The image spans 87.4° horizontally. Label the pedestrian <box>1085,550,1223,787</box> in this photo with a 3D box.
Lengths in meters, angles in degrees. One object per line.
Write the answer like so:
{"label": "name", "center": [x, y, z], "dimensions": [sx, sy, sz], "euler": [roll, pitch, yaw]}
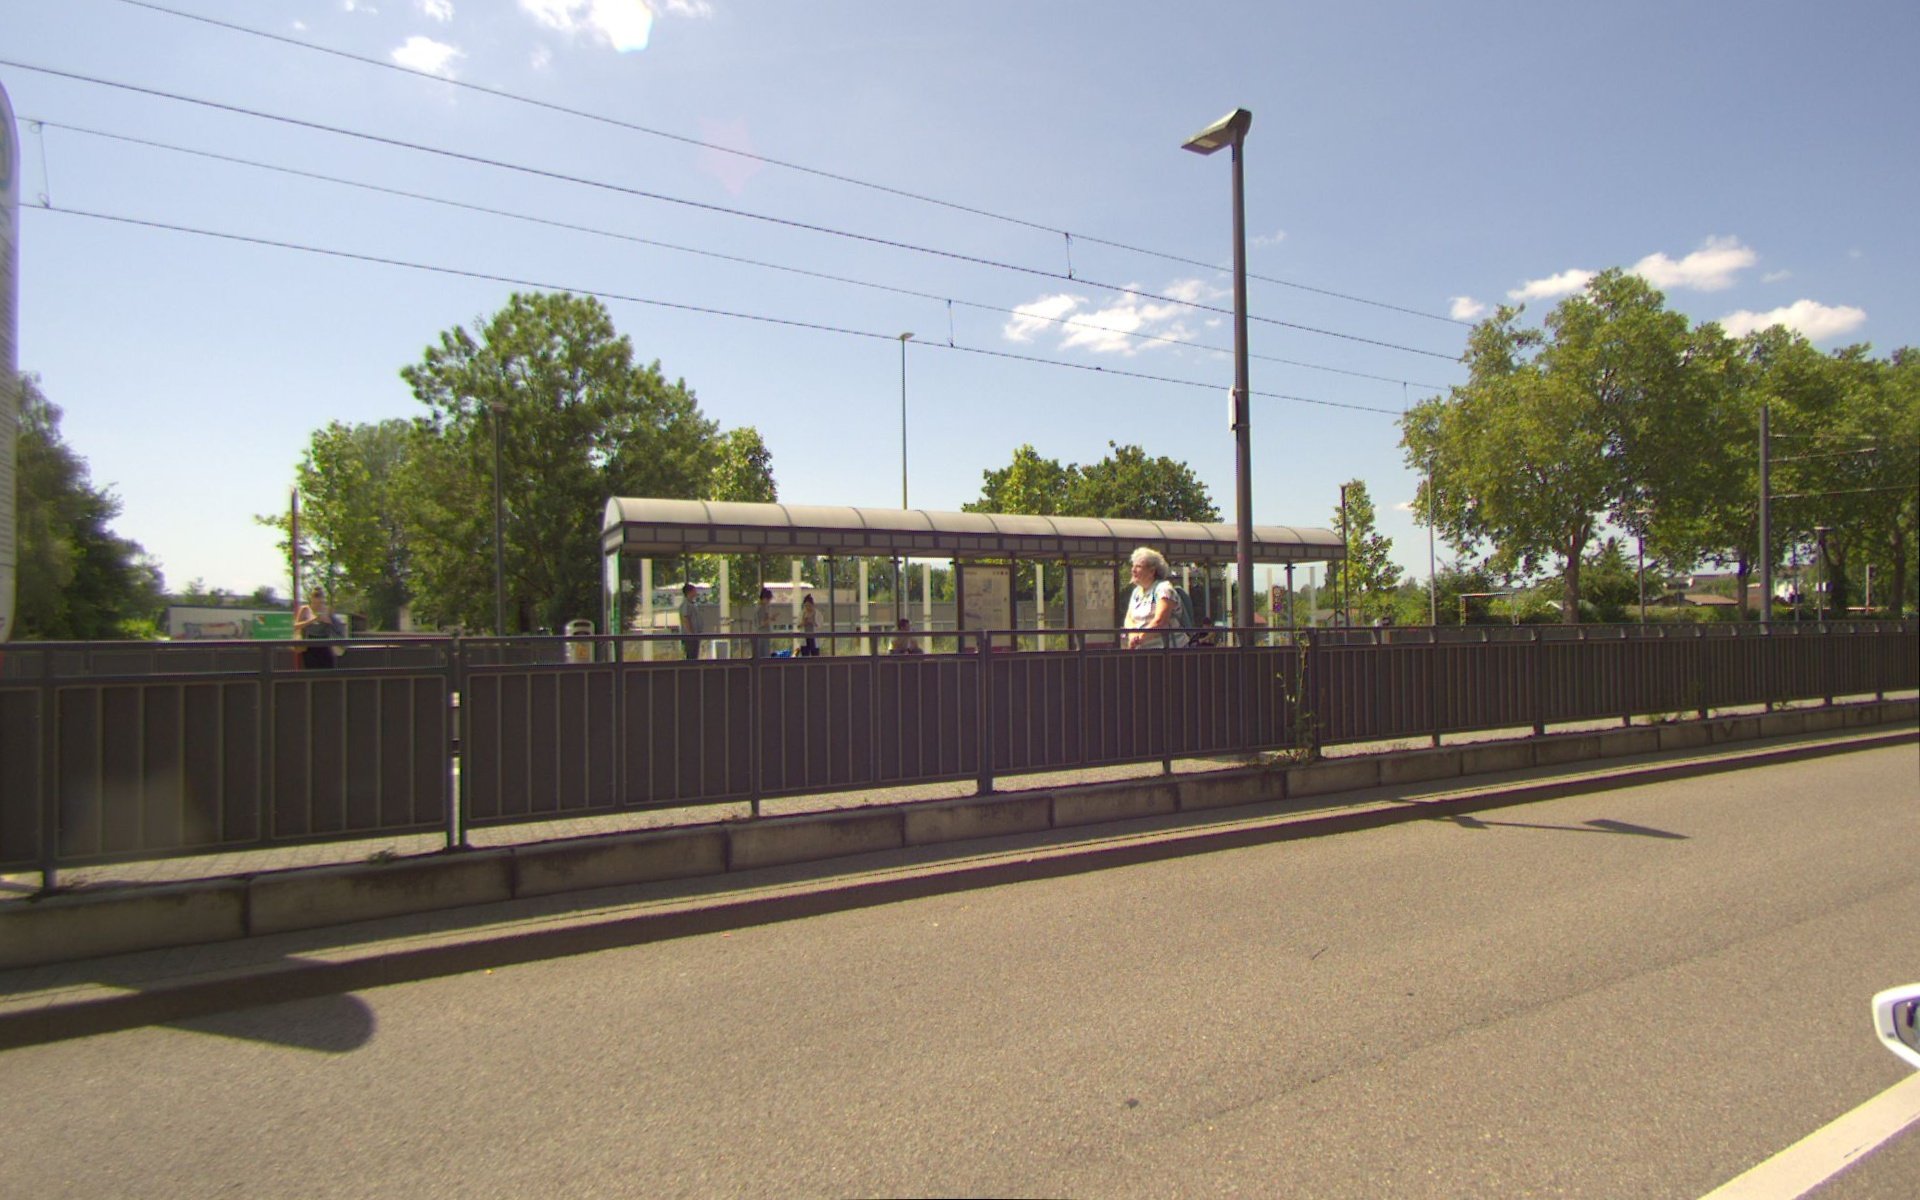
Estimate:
{"label": "pedestrian", "center": [1.477, 0.493, 7.681], "dimensions": [0.733, 1.688, 0.729], "euler": [0, 0, -30]}

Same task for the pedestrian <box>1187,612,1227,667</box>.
{"label": "pedestrian", "center": [5.533, 0.875, 22.515], "dimensions": [0.631, 1.206, 0.574], "euler": [0, -1, -28]}

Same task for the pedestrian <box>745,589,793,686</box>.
{"label": "pedestrian", "center": [-3.346, 0.654, 17.635], "dimensions": [0.566, 1.660, 0.829], "euler": [-1, -1, 9]}

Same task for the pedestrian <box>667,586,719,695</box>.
{"label": "pedestrian", "center": [-4.406, 0.663, 16.592], "dimensions": [0.566, 1.752, 0.739], "euler": [-1, -1, 9]}

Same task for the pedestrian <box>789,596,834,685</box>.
{"label": "pedestrian", "center": [-2.649, 0.716, 17.945], "dimensions": [0.631, 1.553, 0.574], "euler": [0, -1, -28]}

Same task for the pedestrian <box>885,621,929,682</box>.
{"label": "pedestrian", "center": [-0.993, 0.956, 18.789], "dimensions": [0.631, 1.109, 0.574], "euler": [0, -1, -28]}

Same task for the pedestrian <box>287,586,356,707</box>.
{"label": "pedestrian", "center": [-9.067, 0.642, 14.267], "dimensions": [0.799, 1.660, 0.553], "euler": [0, -1, -36]}
